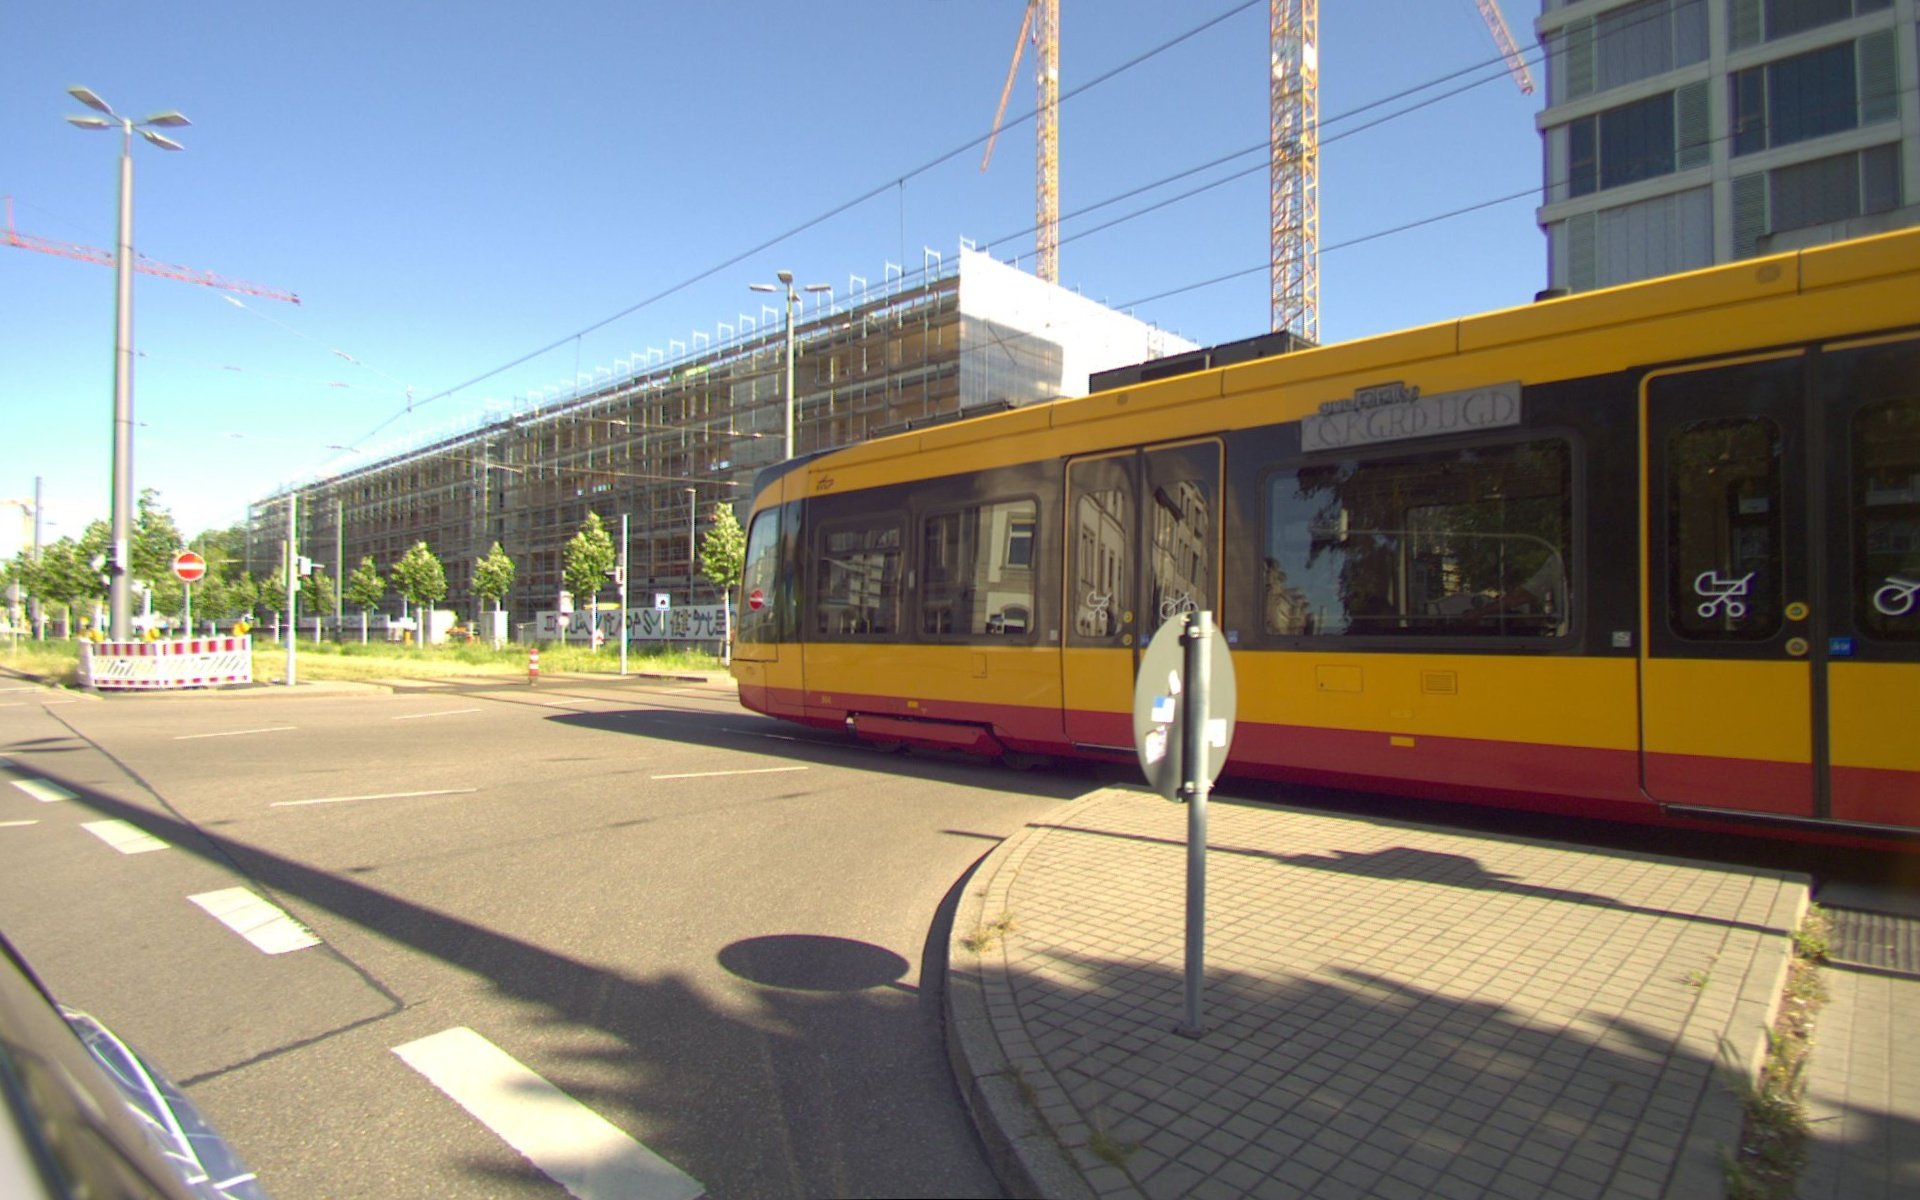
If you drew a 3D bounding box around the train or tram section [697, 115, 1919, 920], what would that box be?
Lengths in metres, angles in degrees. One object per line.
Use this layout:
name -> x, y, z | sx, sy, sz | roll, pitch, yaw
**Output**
train or tram section -> 2.388, -0.331, 8.146 | 1.970, 3.697, 14.162 | 0, -1, -44
